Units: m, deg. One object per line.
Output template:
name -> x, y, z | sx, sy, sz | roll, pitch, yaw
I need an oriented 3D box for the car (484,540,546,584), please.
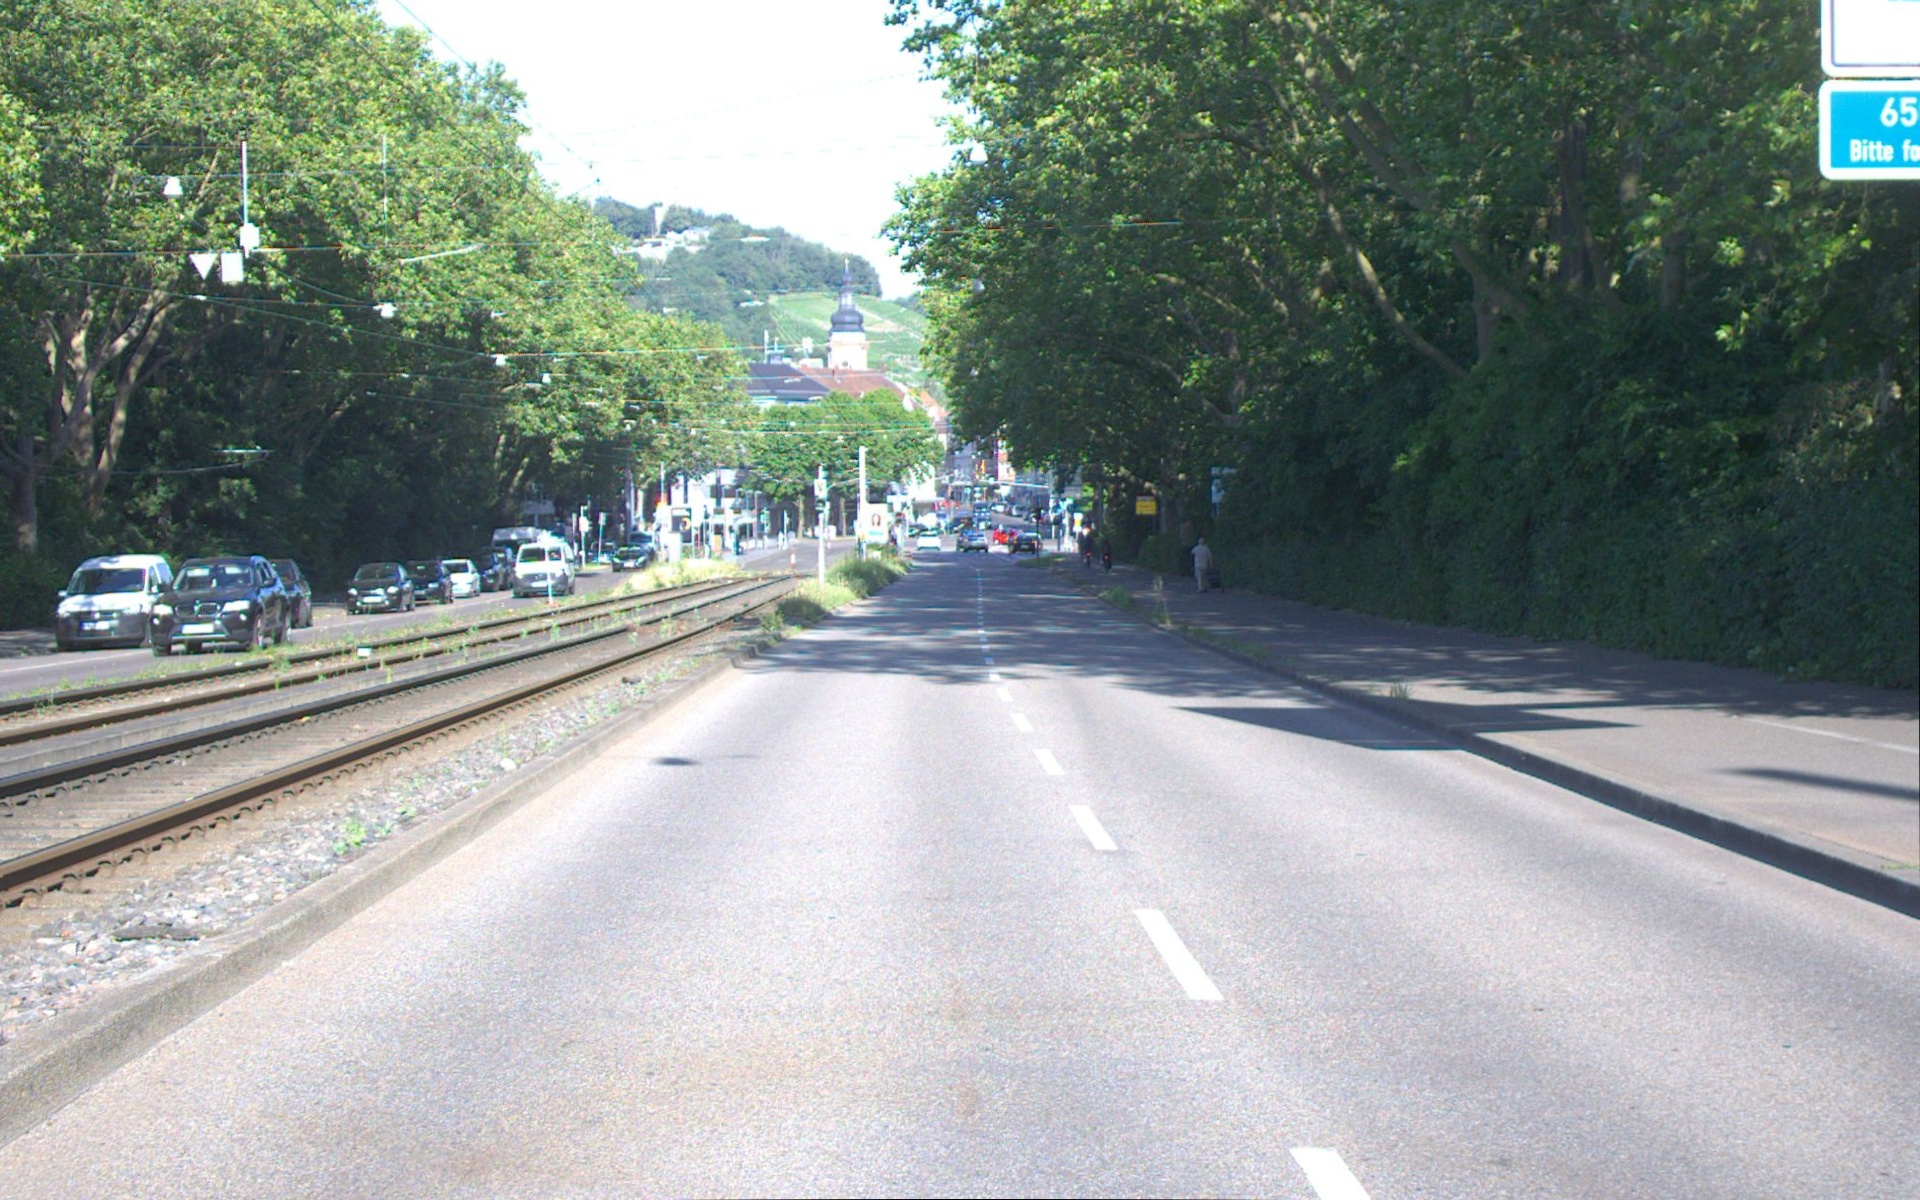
car -> -17.918, -1.539, 138.581 | 1.993, 1.691, 4.745 | -1, 1, -2

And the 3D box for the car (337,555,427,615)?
car -> -17.165, -0.467, 102.340 | 1.993, 1.691, 4.745 | -1, 1, -2

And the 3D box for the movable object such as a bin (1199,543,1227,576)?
movable object such as a bin -> 7.420, -1.191, 100.881 | 0.804, 0.944, 0.656 | -1, 1, 3

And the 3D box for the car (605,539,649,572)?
car -> -17.812, -2.374, 184.061 | 1.993, 1.691, 4.745 | -1, 1, -2

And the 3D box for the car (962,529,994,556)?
car -> 1.377, -4.373, 261.915 | 2.394, 1.993, 5.305 | -1, 1, 0

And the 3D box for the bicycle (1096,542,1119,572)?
bicycle -> 6.514, -1.906, 151.677 | 0.887, 1.316, 2.640 | -1, 1, 0

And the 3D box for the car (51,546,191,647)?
car -> -16.371, -0.100, 67.275 | 1.741, 1.737, 4.515 | -4, 2, -3

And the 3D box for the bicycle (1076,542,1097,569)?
bicycle -> 6.215, -2.197, 169.175 | 0.887, 1.316, 2.640 | -1, 1, 0

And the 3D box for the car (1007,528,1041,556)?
car -> 4.794, -4.324, 257.217 | 2.394, 1.993, 5.305 | -1, 1, 0

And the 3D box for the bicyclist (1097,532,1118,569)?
bicyclist -> 6.513, -2.185, 151.771 | 0.887, 1.633, 1.164 | -1, 1, 0

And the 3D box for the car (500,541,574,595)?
car -> -14.909, -1.152, 121.333 | 1.993, 1.838, 5.302 | 1, 1, -1

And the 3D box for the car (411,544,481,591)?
car -> -18.935, -1.211, 126.751 | 1.993, 1.691, 4.745 | -1, 1, -2

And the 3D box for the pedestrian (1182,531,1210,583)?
pedestrian -> 6.989, -1.270, 101.687 | 0.804, 1.540, 0.814 | -1, 1, 3

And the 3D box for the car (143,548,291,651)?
car -> -12.929, -0.047, 60.032 | 1.741, 1.618, 4.395 | -2, 2, -2

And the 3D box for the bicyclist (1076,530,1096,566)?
bicyclist -> 6.189, -2.547, 169.065 | 0.887, 1.768, 1.222 | -1, 1, 0

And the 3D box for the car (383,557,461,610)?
car -> -18.031, -0.564, 115.320 | 1.993, 1.691, 4.745 | -1, 1, -2
